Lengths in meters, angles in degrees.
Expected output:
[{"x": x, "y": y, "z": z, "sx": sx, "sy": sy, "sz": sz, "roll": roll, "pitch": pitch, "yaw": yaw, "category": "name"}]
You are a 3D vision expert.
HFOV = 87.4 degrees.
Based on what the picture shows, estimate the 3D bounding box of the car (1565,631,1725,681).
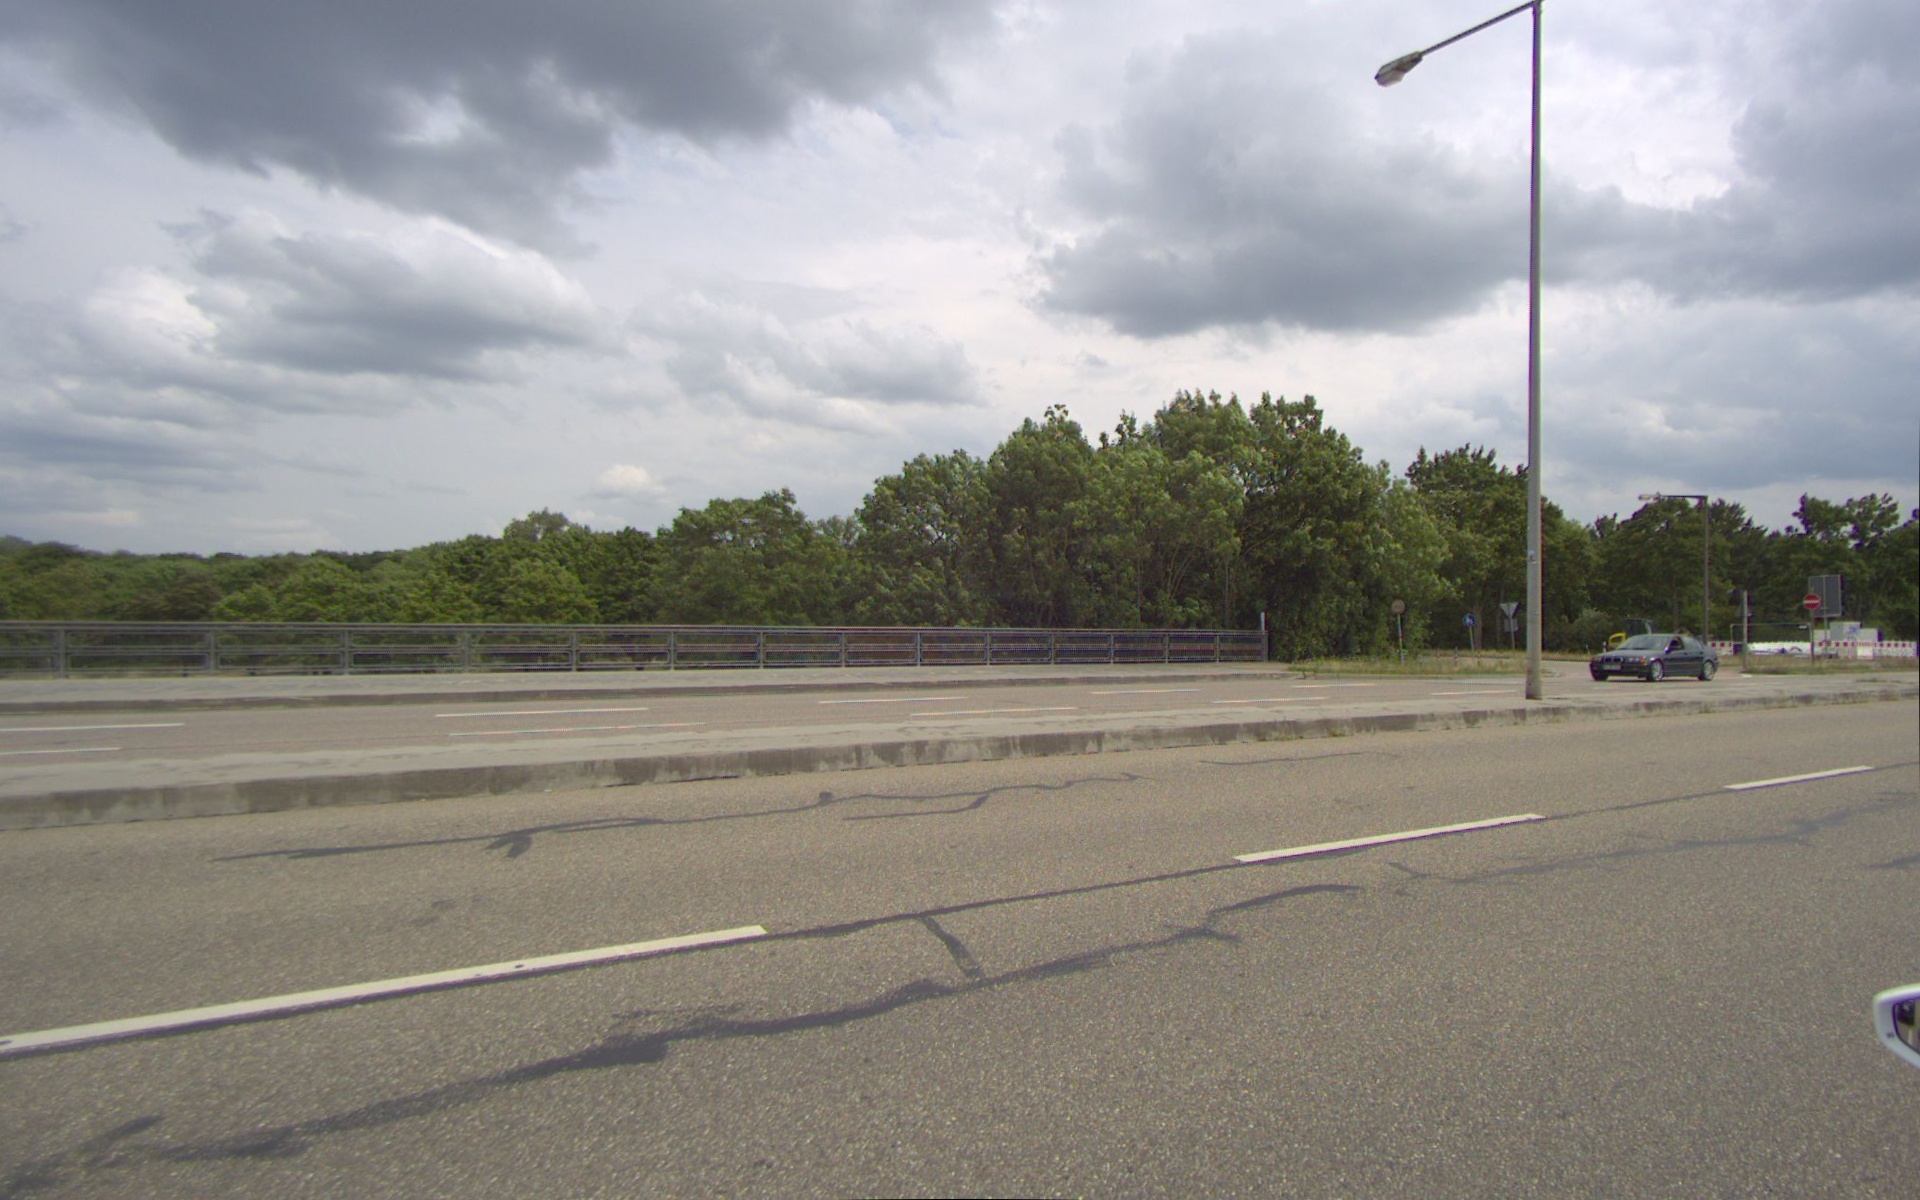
[{"x": 20.330, "y": 1.647, "z": 29.805, "sx": 4.517, "sy": 1.391, "sz": 1.987, "roll": 2, "pitch": -3, "yaw": -27, "category": "car"}]

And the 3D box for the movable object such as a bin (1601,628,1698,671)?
[{"x": 42.147, "y": 2.970, "z": 61.460, "sx": 1.984, "sy": 2.429, "sz": 4.539, "roll": 0, "pitch": 0, "yaw": -40, "category": "movable object such as a bin"}]
